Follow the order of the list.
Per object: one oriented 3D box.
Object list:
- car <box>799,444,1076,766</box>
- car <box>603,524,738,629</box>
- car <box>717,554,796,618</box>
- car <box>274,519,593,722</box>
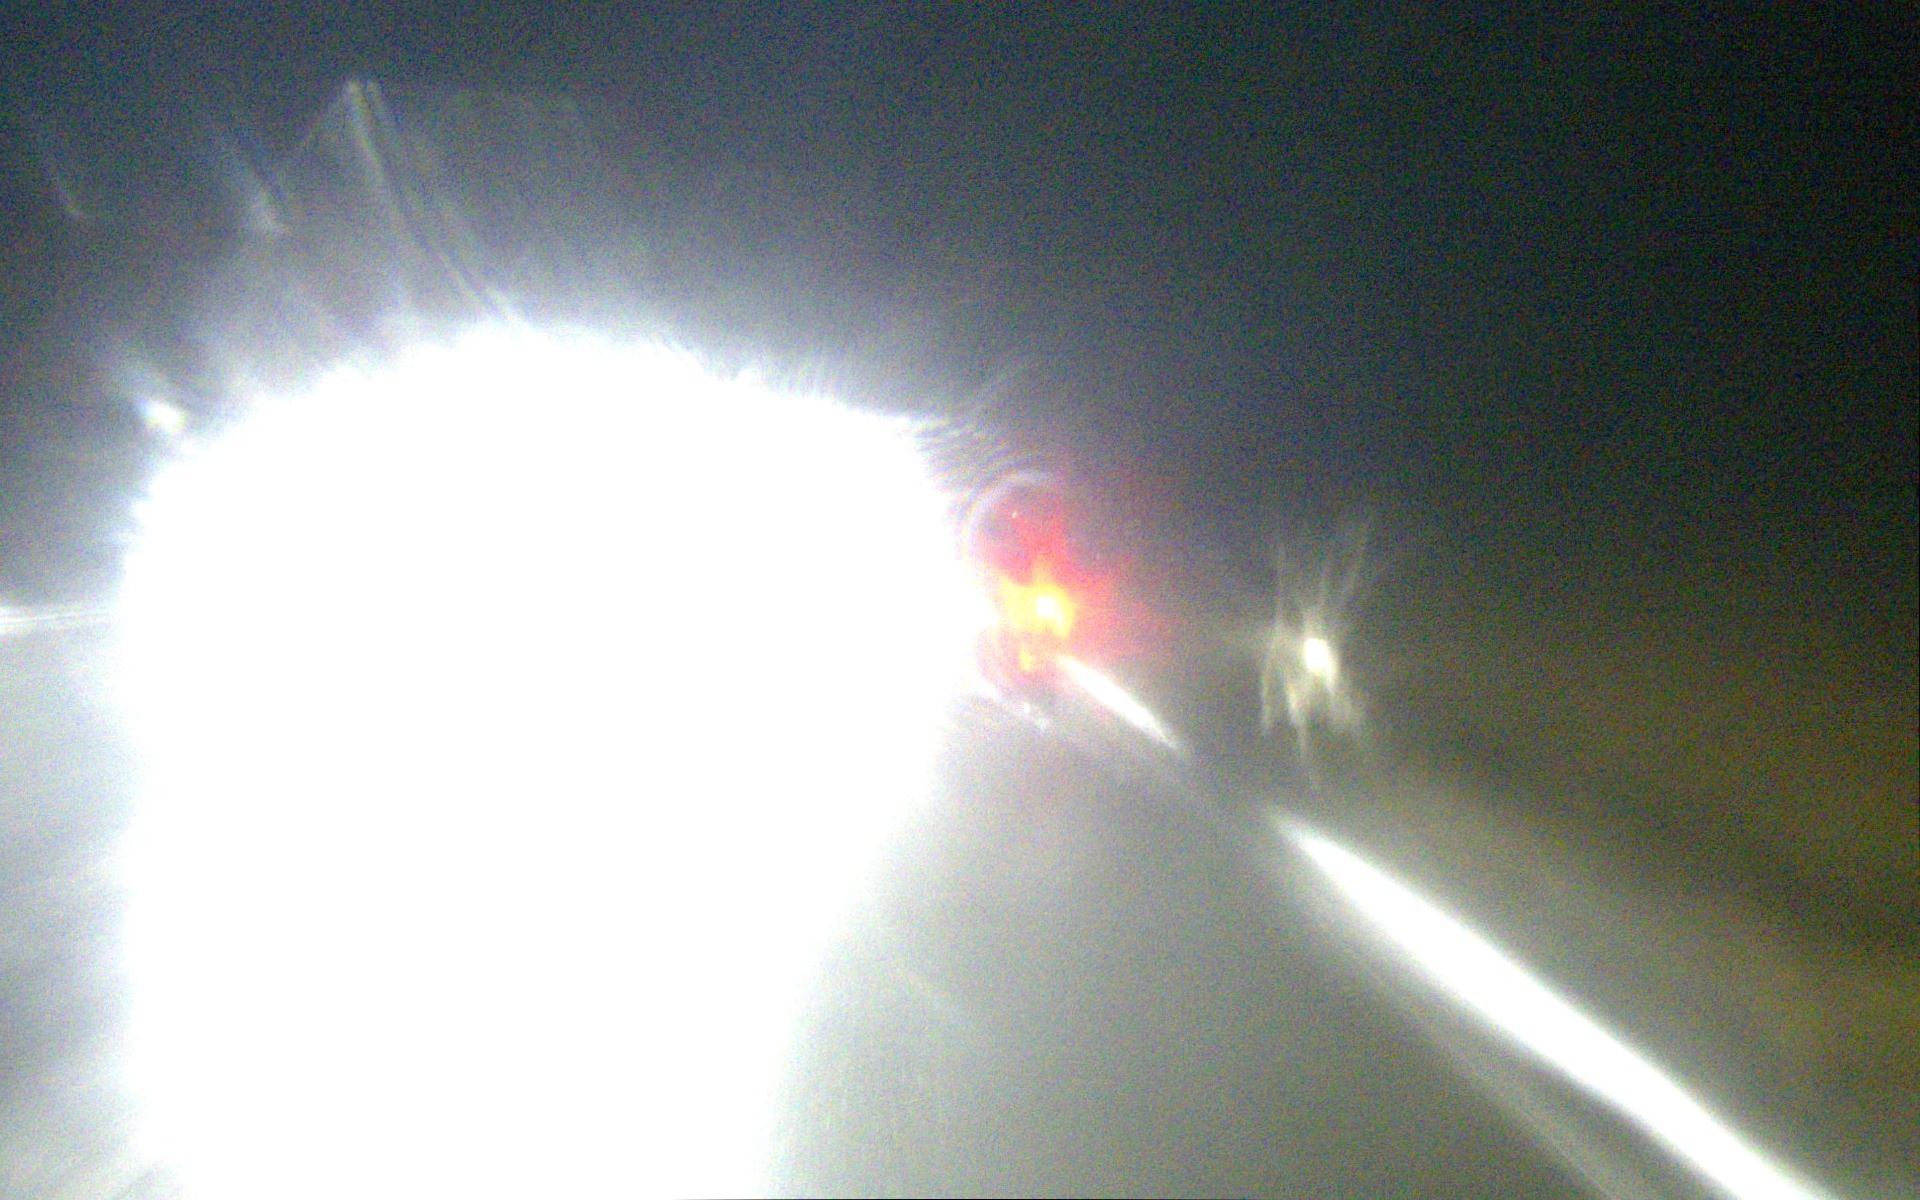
[{"bbox_3d":[-0.216,-0.057,30.290,2.181,2.548,4.508,2,3,-1],"label":"car"},{"bbox_3d":[-4.354,-0.377,52.186,1.785,1.505,3.600,1,1,-1],"label":"car"},{"bbox_3d":[-5.296,-0.386,89.912,1.859,1.632,4.143,0,1,-1],"label":"car"},{"bbox_3d":[-4.135,0.110,27.662,1.974,1.511,4.347,0,1,-1],"label":"car"}]
